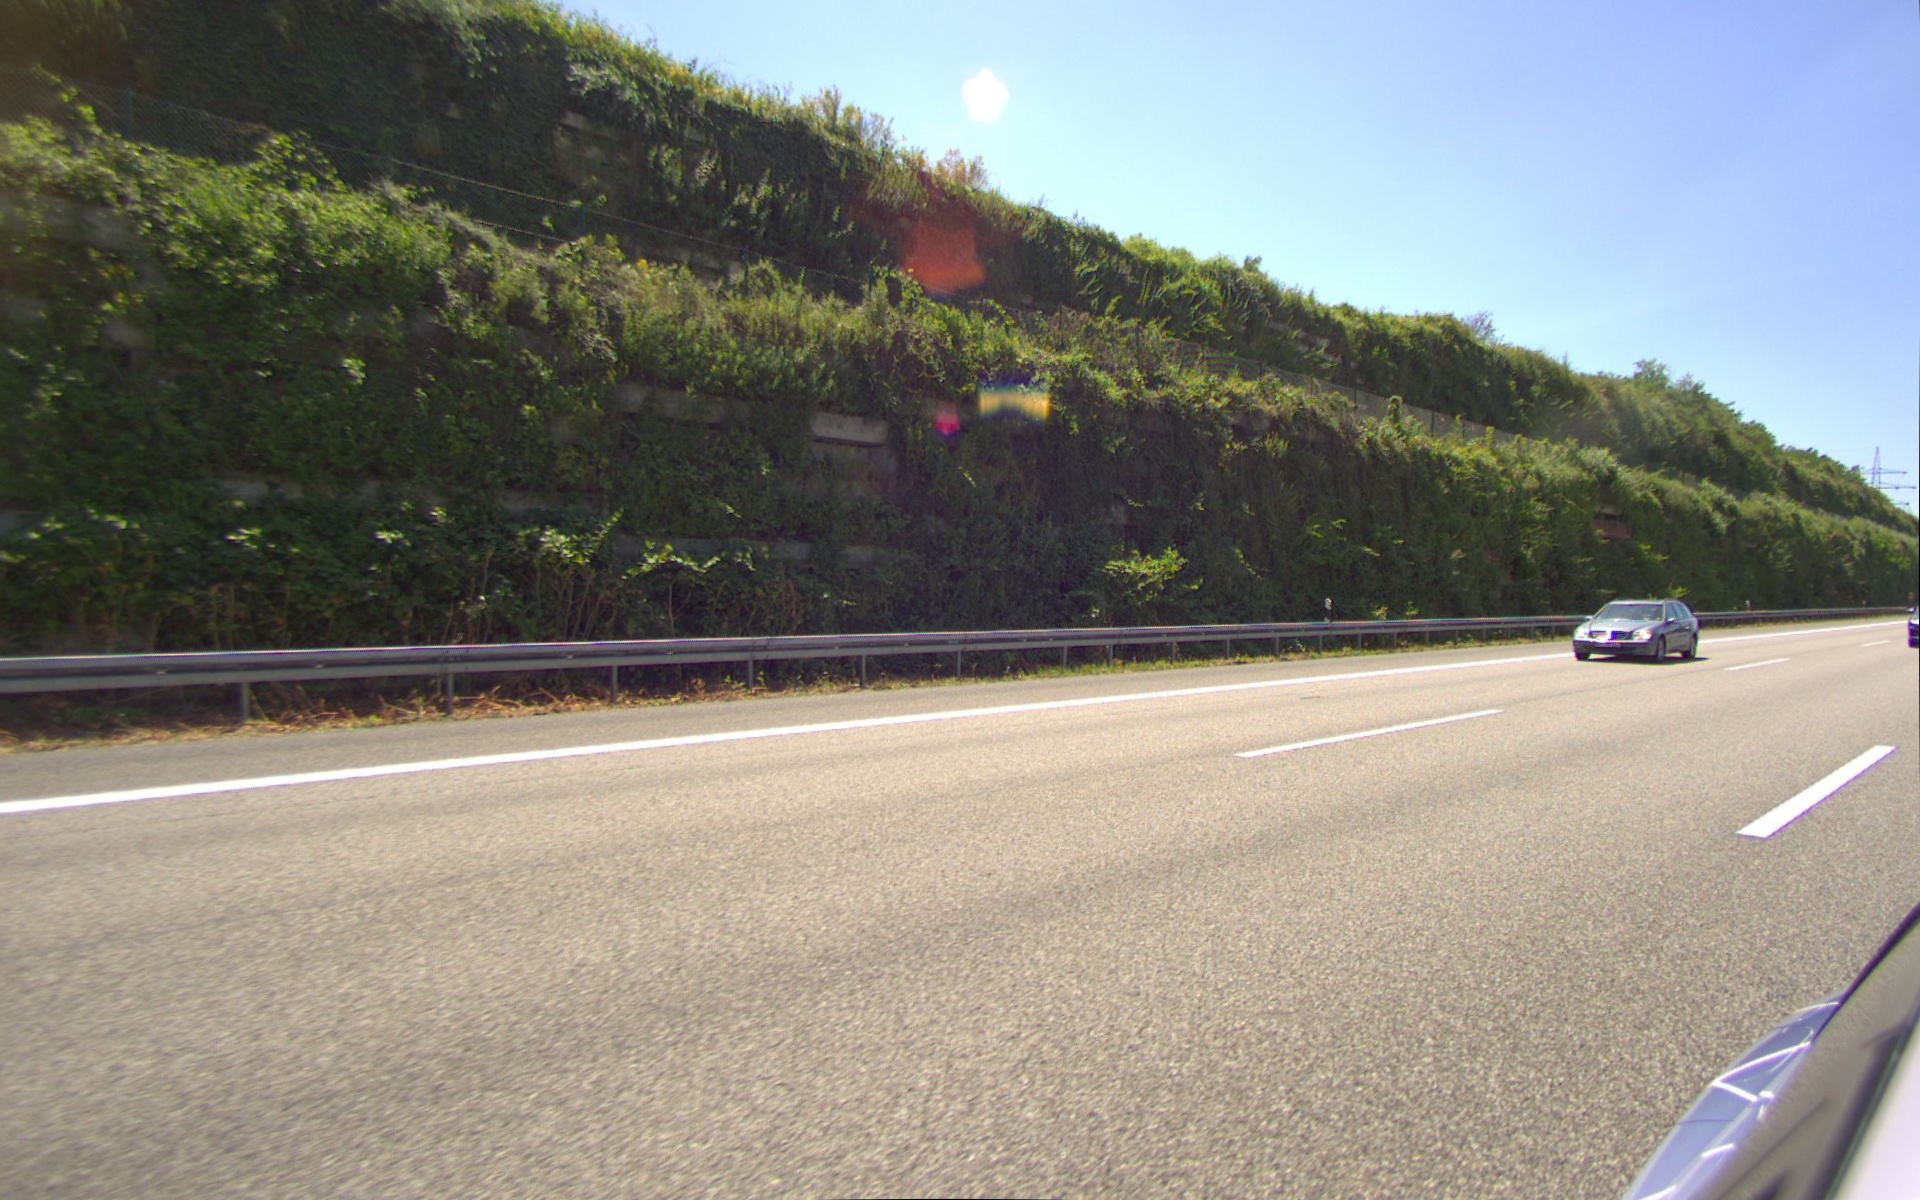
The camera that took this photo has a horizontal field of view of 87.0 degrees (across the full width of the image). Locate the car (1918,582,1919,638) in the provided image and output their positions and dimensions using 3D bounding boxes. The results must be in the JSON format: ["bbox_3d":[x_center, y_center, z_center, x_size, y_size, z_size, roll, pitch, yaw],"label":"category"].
[{"bbox_3d":[31.589,0.324,31.633,4.479,1.701,1.983,0,1,-41],"label":"car"}]

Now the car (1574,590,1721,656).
[{"bbox_3d":[16.487,0.482,24.179,4.479,1.429,1.838,0,1,-41],"label":"car"}]
